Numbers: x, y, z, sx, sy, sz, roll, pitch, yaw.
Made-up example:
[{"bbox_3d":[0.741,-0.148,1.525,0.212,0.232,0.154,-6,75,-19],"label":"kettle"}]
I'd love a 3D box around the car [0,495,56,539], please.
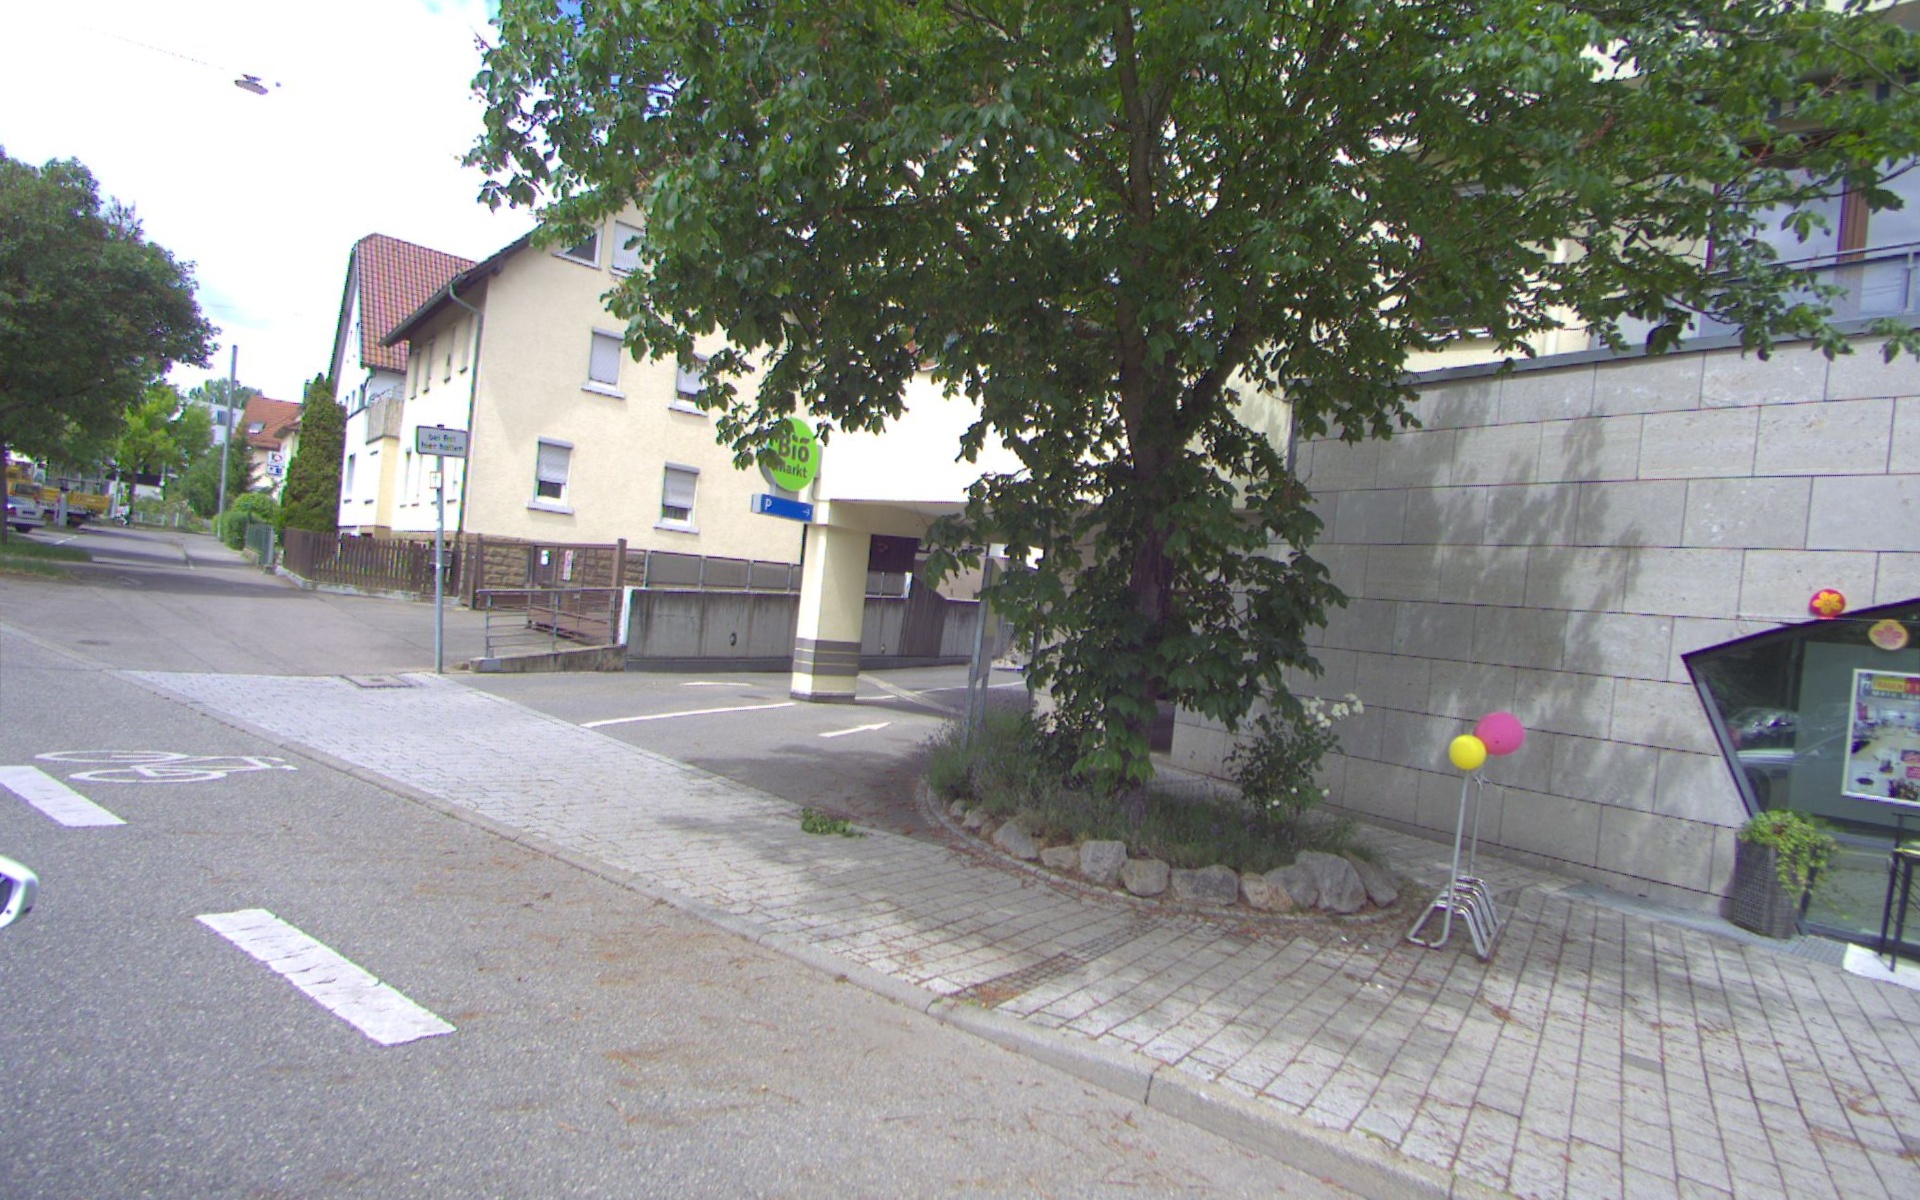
[{"bbox_3d":[-38.452,-3.496,39.255,4.603,1.469,1.768,8,-1,-1],"label":"car"}]

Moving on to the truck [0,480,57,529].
[{"bbox_3d":[-48.797,-5.049,49.990,5.576,2.036,2.001,8,-2,-4],"label":"truck"}]

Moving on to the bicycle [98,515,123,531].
[{"bbox_3d":[-53.599,-4.876,63.456,1.724,0.821,0.596,6,-2,31],"label":"bicycle"}]

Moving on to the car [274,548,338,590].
[{"bbox_3d":[-22.222,-1.074,34.120,1.455,1.137,3.834,9,-3,-37],"label":"car"}]

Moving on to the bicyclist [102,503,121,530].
[{"bbox_3d":[-53.592,-5.295,63.515,0.557,1.576,0.590,6,-2,30],"label":"bicyclist"}]

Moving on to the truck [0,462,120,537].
[{"bbox_3d":[-48.903,-5.402,52.917,6.586,3.042,2.772,8,-2,-3],"label":"truck"}]
